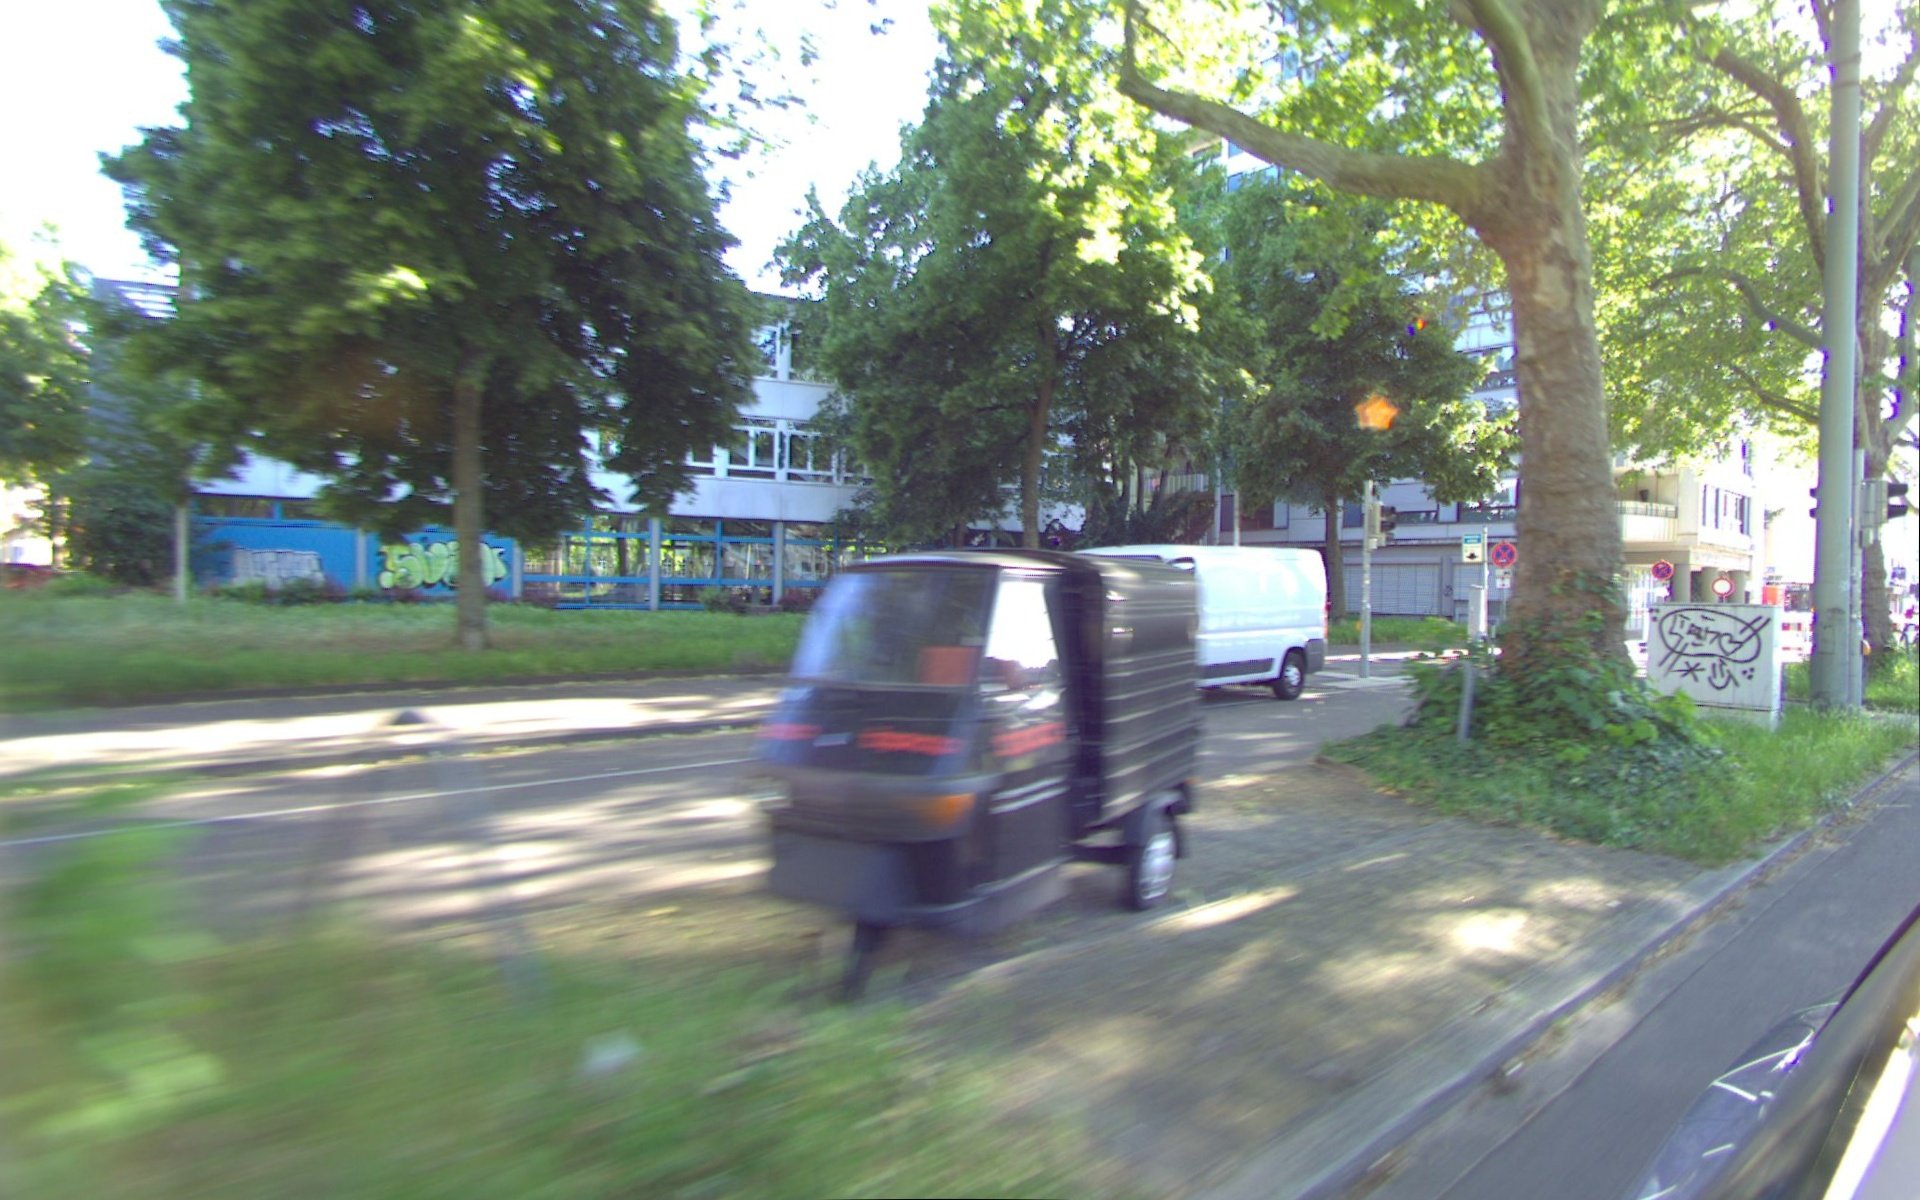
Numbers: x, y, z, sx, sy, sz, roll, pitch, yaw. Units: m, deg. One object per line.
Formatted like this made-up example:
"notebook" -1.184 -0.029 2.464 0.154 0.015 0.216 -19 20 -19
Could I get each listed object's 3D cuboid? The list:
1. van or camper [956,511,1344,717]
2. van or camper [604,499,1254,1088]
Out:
"van or camper" 2.847 0.130 14.127 5.721 2.315 2.295 0 1 -41
"van or camper" 0.115 0.507 4.363 1.494 1.608 2.807 1 1 32
